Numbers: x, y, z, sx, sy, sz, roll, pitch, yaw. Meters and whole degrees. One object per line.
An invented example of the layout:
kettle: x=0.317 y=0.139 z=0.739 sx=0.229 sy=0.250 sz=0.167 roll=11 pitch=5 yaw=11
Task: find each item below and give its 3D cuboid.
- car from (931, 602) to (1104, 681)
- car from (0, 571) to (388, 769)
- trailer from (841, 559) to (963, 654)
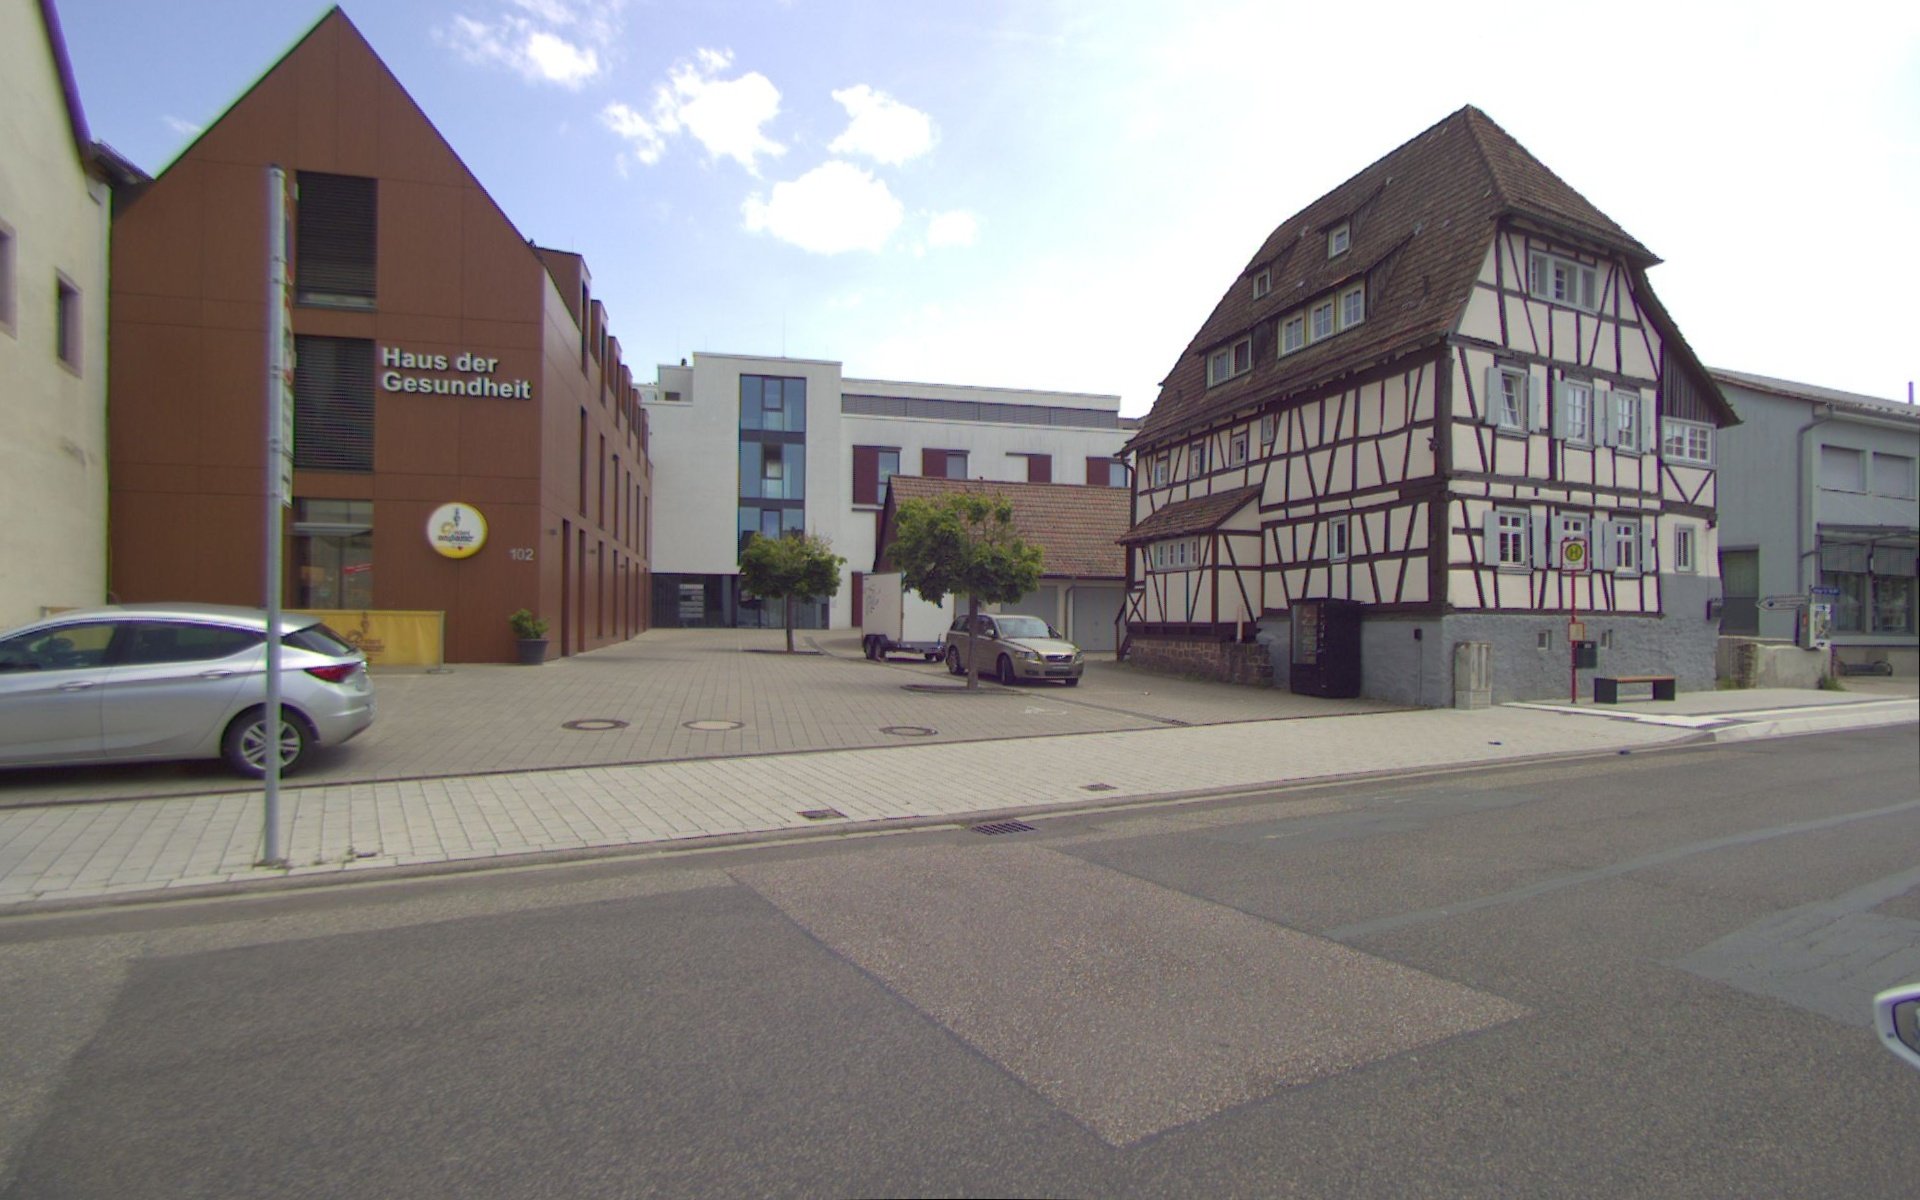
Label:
car: x=1.115 y=0.833 z=22.035 sx=1.937 sy=1.407 sz=4.413 roll=1 pitch=1 yaw=-25
car: x=-7.602 y=0.553 z=8.953 sx=4.221 sy=1.512 sz=1.751 roll=1 pitch=2 yaw=-27
trailer: x=-1.738 y=0.180 z=28.419 sx=1.937 sy=2.458 sz=4.413 roll=1 pitch=0 yaw=-25
